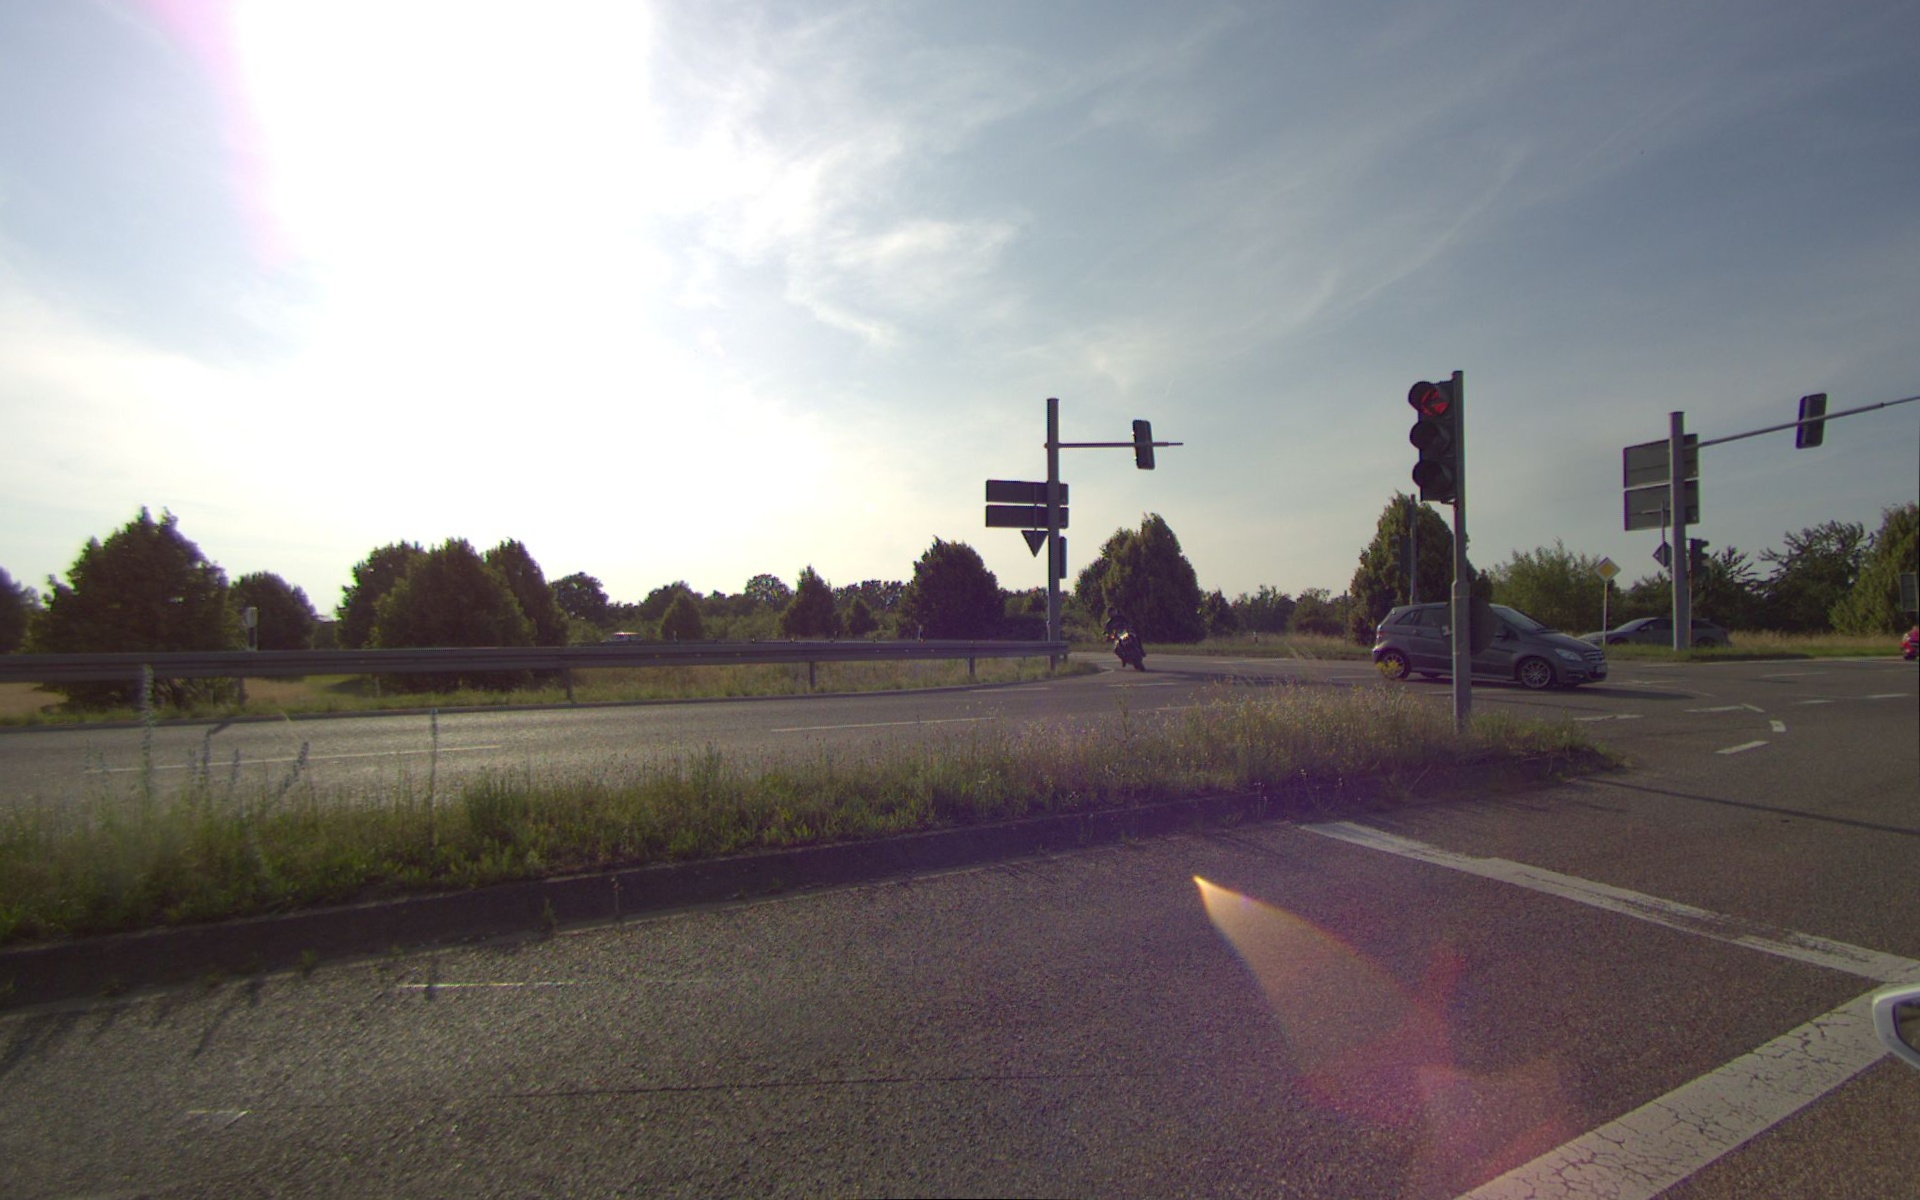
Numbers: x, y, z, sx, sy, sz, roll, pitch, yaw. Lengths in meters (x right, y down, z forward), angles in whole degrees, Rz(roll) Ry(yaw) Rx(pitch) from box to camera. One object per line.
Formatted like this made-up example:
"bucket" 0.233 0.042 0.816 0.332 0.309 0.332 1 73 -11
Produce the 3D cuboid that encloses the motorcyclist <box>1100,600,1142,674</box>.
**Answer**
"motorcyclist" 3.995 0.902 24.883 0.889 1.781 0.832 1 0 18

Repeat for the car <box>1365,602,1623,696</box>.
"car" 10.421 0.889 19.884 1.774 1.626 4.152 2 -1 -37

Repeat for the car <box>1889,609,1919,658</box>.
"car" 31.040 1.039 31.349 3.752 1.508 1.716 1 -1 -25

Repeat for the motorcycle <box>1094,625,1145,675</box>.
"motorcycle" 3.977 1.207 24.843 0.922 1.139 2.171 1 0 17

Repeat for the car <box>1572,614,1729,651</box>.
"car" 25.128 1.178 36.655 4.578 1.309 1.442 0 -1 6

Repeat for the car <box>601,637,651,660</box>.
"car" -25.391 3.650 76.319 3.942 1.560 1.989 0 -1 42
